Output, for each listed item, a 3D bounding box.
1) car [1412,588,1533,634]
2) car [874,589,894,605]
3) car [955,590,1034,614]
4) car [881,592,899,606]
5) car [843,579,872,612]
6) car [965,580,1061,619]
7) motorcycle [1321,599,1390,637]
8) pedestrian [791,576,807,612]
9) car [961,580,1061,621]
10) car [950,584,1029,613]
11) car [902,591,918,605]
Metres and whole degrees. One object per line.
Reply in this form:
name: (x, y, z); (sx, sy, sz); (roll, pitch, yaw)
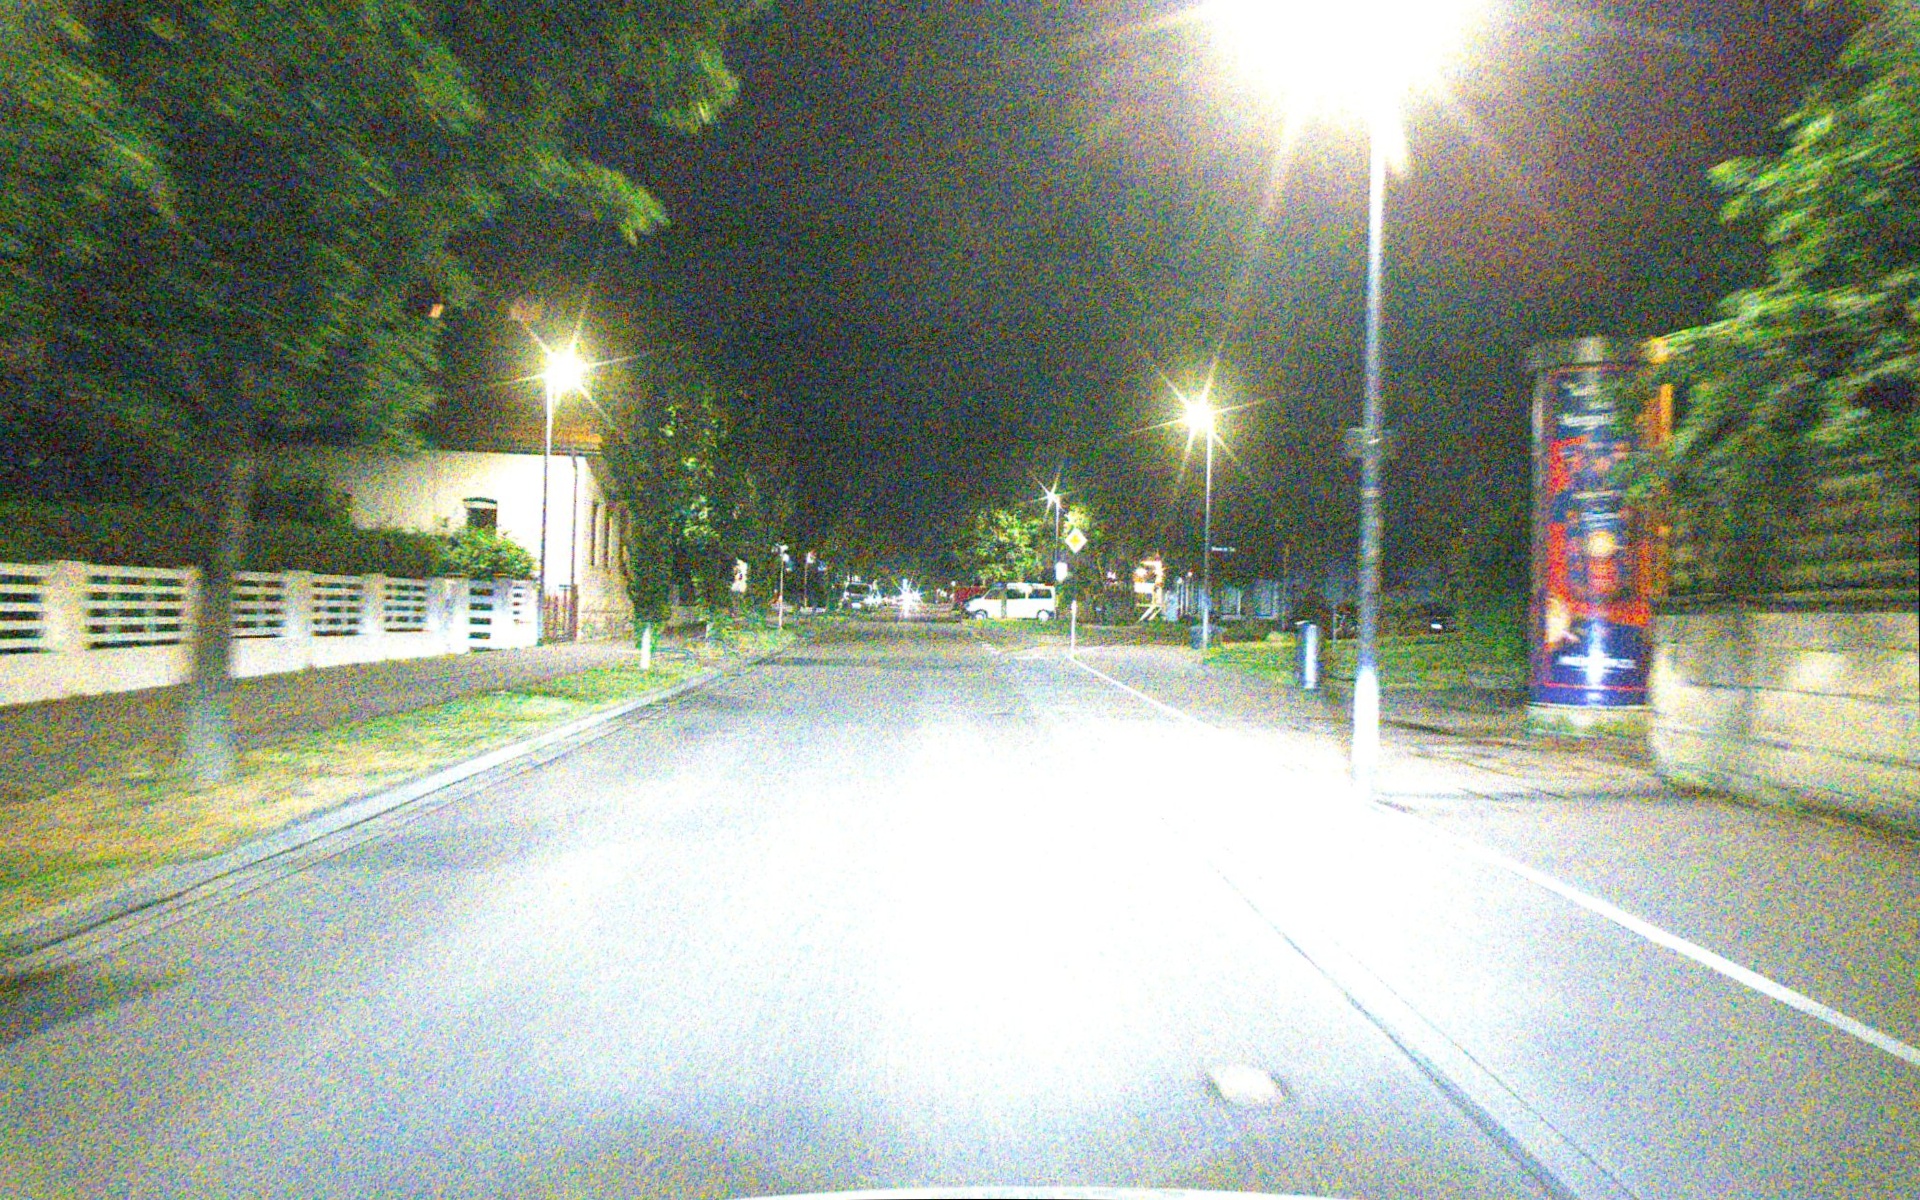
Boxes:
car: (17.599, 0.361, 56.808); (3.562, 1.505, 1.855); (-1, 1, -17)
car: (-6.542, -0.241, 142.686); (1.649, 1.354, 3.598); (1, 0, -3)
car: (2.263, 0.128, 108.815); (5.078, 1.495, 2.101); (0, 0, -3)
car: (-6.755, -0.109, 159.428); (1.649, 1.354, 3.598); (1, 0, -3)
car: (-6.820, -0.312, 110.235); (1.788, 2.021, 4.463); (3, 0, -3)
car: (2.840, -0.035, 89.843); (5.078, 2.049, 2.101); (0, 0, -3)
motorcycle: (13.363, 0.601, 55.885); (2.223, 1.235, 0.708); (-1, 1, -17)
pedestrian: (-9.504, -0.369, 97.576); (0.769, 2.049, 1.204); (3, 0, -1)
car: (2.641, 0.013, 86.725); (5.078, 2.049, 2.101); (0, 0, -3)
car: (2.014, -0.114, 111.530); (5.072, 1.920, 2.103); (0, 0, 8)
car: (-6.254, -0.268, 206.807); (1.888, 1.677, 3.819); (0, 0, -3)
